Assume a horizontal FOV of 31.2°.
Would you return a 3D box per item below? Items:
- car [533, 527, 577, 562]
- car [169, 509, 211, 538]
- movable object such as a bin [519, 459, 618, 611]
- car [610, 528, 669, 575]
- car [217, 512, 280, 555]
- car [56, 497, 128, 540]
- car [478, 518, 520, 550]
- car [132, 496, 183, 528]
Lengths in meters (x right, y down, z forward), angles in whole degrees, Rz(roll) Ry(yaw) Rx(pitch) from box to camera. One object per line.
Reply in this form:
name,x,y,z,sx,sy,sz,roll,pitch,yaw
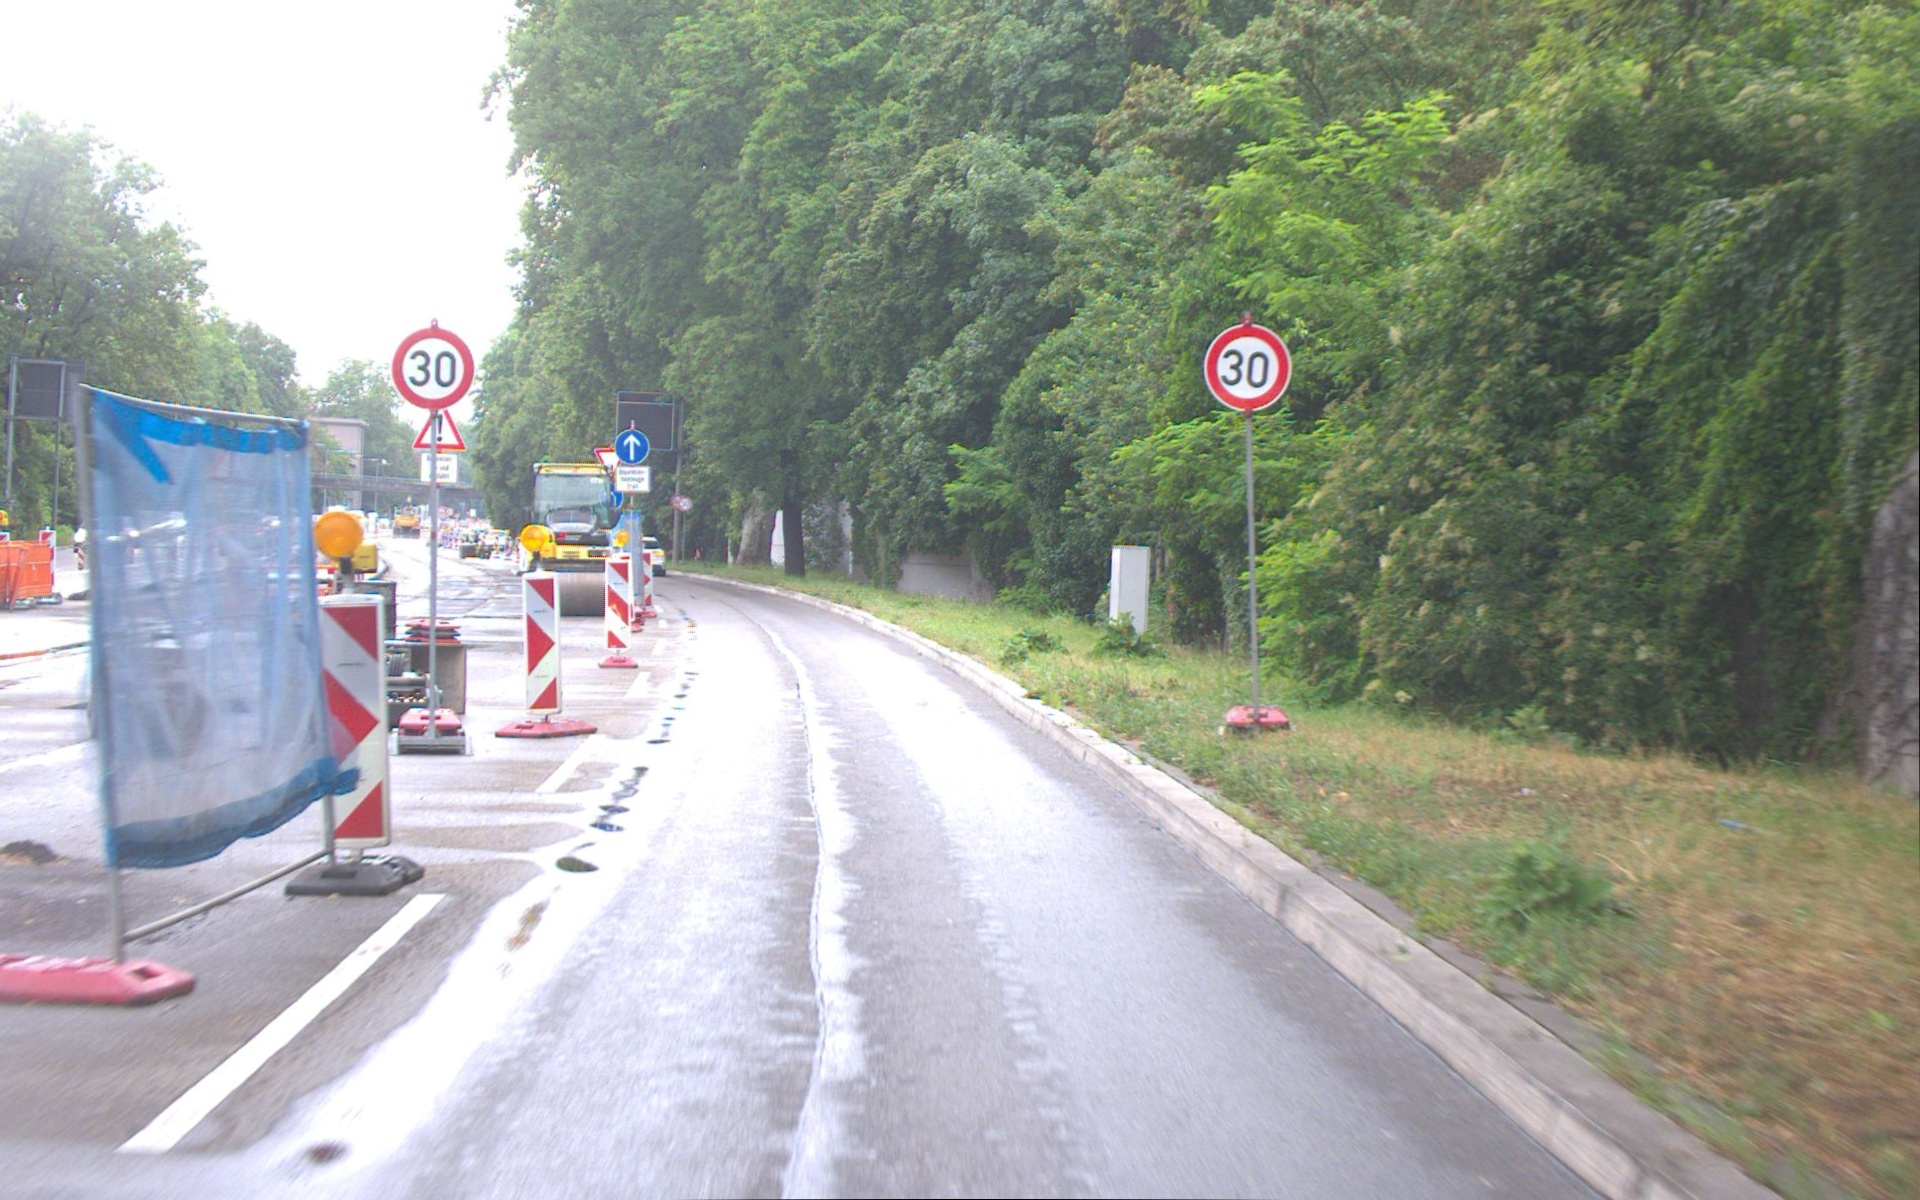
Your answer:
car,-17.958,-2.486,152.293,1.756,1.339,4.002,3,2,-8
car,-45.452,-4.495,203.021,1.927,1.659,4.653,1,1,-7
movable object such as a bin,-7.588,-1.264,66.883,1.746,2.857,3.535,1,1,-4
car,-11.849,-1.813,127.474,1.914,1.592,4.834,2,2,-3
car,-30.799,-2.876,148.906,1.927,1.772,4.653,1,1,-3
car,-35.093,-3.279,139.062,1.927,1.659,4.653,1,1,-3
car,-24.716,-3.539,184.263,1.875,1.612,4.001,1,2,-3
car,-43.946,-4.816,188.285,1.927,1.659,4.653,1,1,-3
